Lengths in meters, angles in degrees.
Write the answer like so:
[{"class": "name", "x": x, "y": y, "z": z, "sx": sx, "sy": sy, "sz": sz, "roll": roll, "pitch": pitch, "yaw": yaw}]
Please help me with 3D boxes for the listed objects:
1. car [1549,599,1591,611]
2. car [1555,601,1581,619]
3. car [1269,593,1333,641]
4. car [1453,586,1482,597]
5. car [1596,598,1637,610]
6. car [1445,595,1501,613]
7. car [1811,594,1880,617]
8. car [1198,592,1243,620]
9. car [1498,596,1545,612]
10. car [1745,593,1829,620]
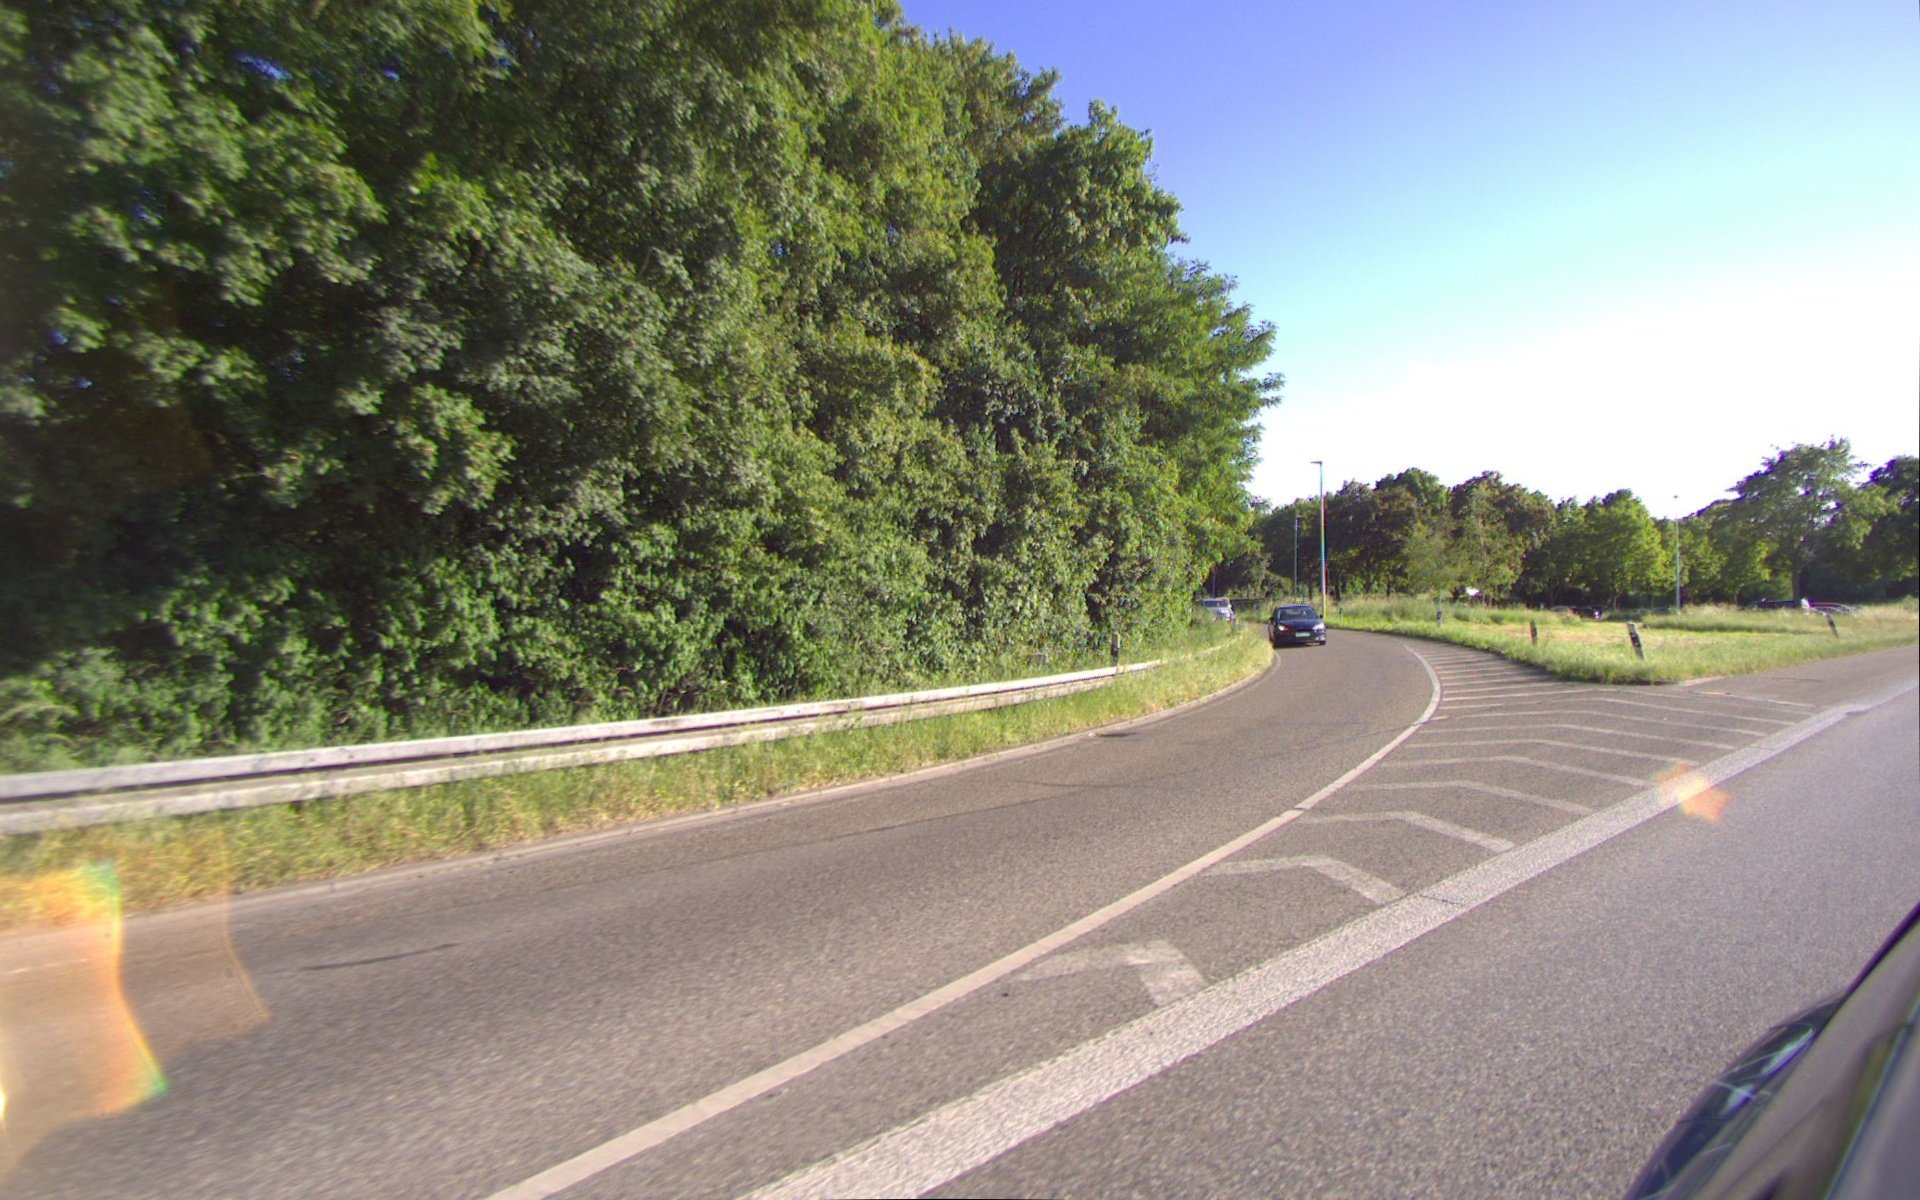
[{"class": "car", "x": 75.922, "y": 0.629, "z": 126.054, "sx": 1.834, "sy": 1.441, "sz": 4.118, "roll": -4, "pitch": 2, "yaw": -40}, {"class": "car", "x": 52.925, "y": 0.846, "z": 88.021, "sx": 1.692, "sy": 1.481, "sz": 4.097, "roll": 0, "pitch": 0, "yaw": 35}, {"class": "car", "x": 12.489, "y": 0.593, "z": 37.256, "sx": 1.734, "sy": 1.593, "sz": 4.127, "roll": -3, "pitch": -1, "yaw": 13}, {"class": "car", "x": 76.447, "y": -1.235, "z": 152.388, "sx": 3.917, "sy": 1.596, "sz": 1.913, "roll": 1, "pitch": 0, "yaw": -25}, {"class": "car", "x": 87.147, "y": 0.545, "z": 134.363, "sx": 1.834, "sy": 1.441, "sz": 4.118, "roll": -4, "pitch": 2, "yaw": -40}, {"class": "car", "x": 56.097, "y": 0.409, "z": 110.774, "sx": 1.922, "sy": 1.889, "sz": 5.204, "roll": -1, "pitch": 1, "yaw": -38}, {"class": "car", "x": 85.812, "y": 0.488, "z": 98.154, "sx": 1.991, "sy": 2.048, "sz": 4.798, "roll": -3, "pitch": 2, "yaw": -40}, {"class": "car", "x": 15.869, "y": 0.374, "z": 61.898, "sx": 1.728, "sy": 1.593, "sz": 4.140, "roll": -3, "pitch": -1, "yaw": 2}, {"class": "car", "x": 66.147, "y": 0.455, "z": 119.255, "sx": 1.915, "sy": 1.798, "sz": 4.587, "roll": -2, "pitch": 3, "yaw": -44}, {"class": "car", "x": 70.086, "y": 0.571, "z": 85.873, "sx": 2.052, "sy": 2.163, "sz": 5.052, "roll": -1, "pitch": -2, "yaw": -30}]
